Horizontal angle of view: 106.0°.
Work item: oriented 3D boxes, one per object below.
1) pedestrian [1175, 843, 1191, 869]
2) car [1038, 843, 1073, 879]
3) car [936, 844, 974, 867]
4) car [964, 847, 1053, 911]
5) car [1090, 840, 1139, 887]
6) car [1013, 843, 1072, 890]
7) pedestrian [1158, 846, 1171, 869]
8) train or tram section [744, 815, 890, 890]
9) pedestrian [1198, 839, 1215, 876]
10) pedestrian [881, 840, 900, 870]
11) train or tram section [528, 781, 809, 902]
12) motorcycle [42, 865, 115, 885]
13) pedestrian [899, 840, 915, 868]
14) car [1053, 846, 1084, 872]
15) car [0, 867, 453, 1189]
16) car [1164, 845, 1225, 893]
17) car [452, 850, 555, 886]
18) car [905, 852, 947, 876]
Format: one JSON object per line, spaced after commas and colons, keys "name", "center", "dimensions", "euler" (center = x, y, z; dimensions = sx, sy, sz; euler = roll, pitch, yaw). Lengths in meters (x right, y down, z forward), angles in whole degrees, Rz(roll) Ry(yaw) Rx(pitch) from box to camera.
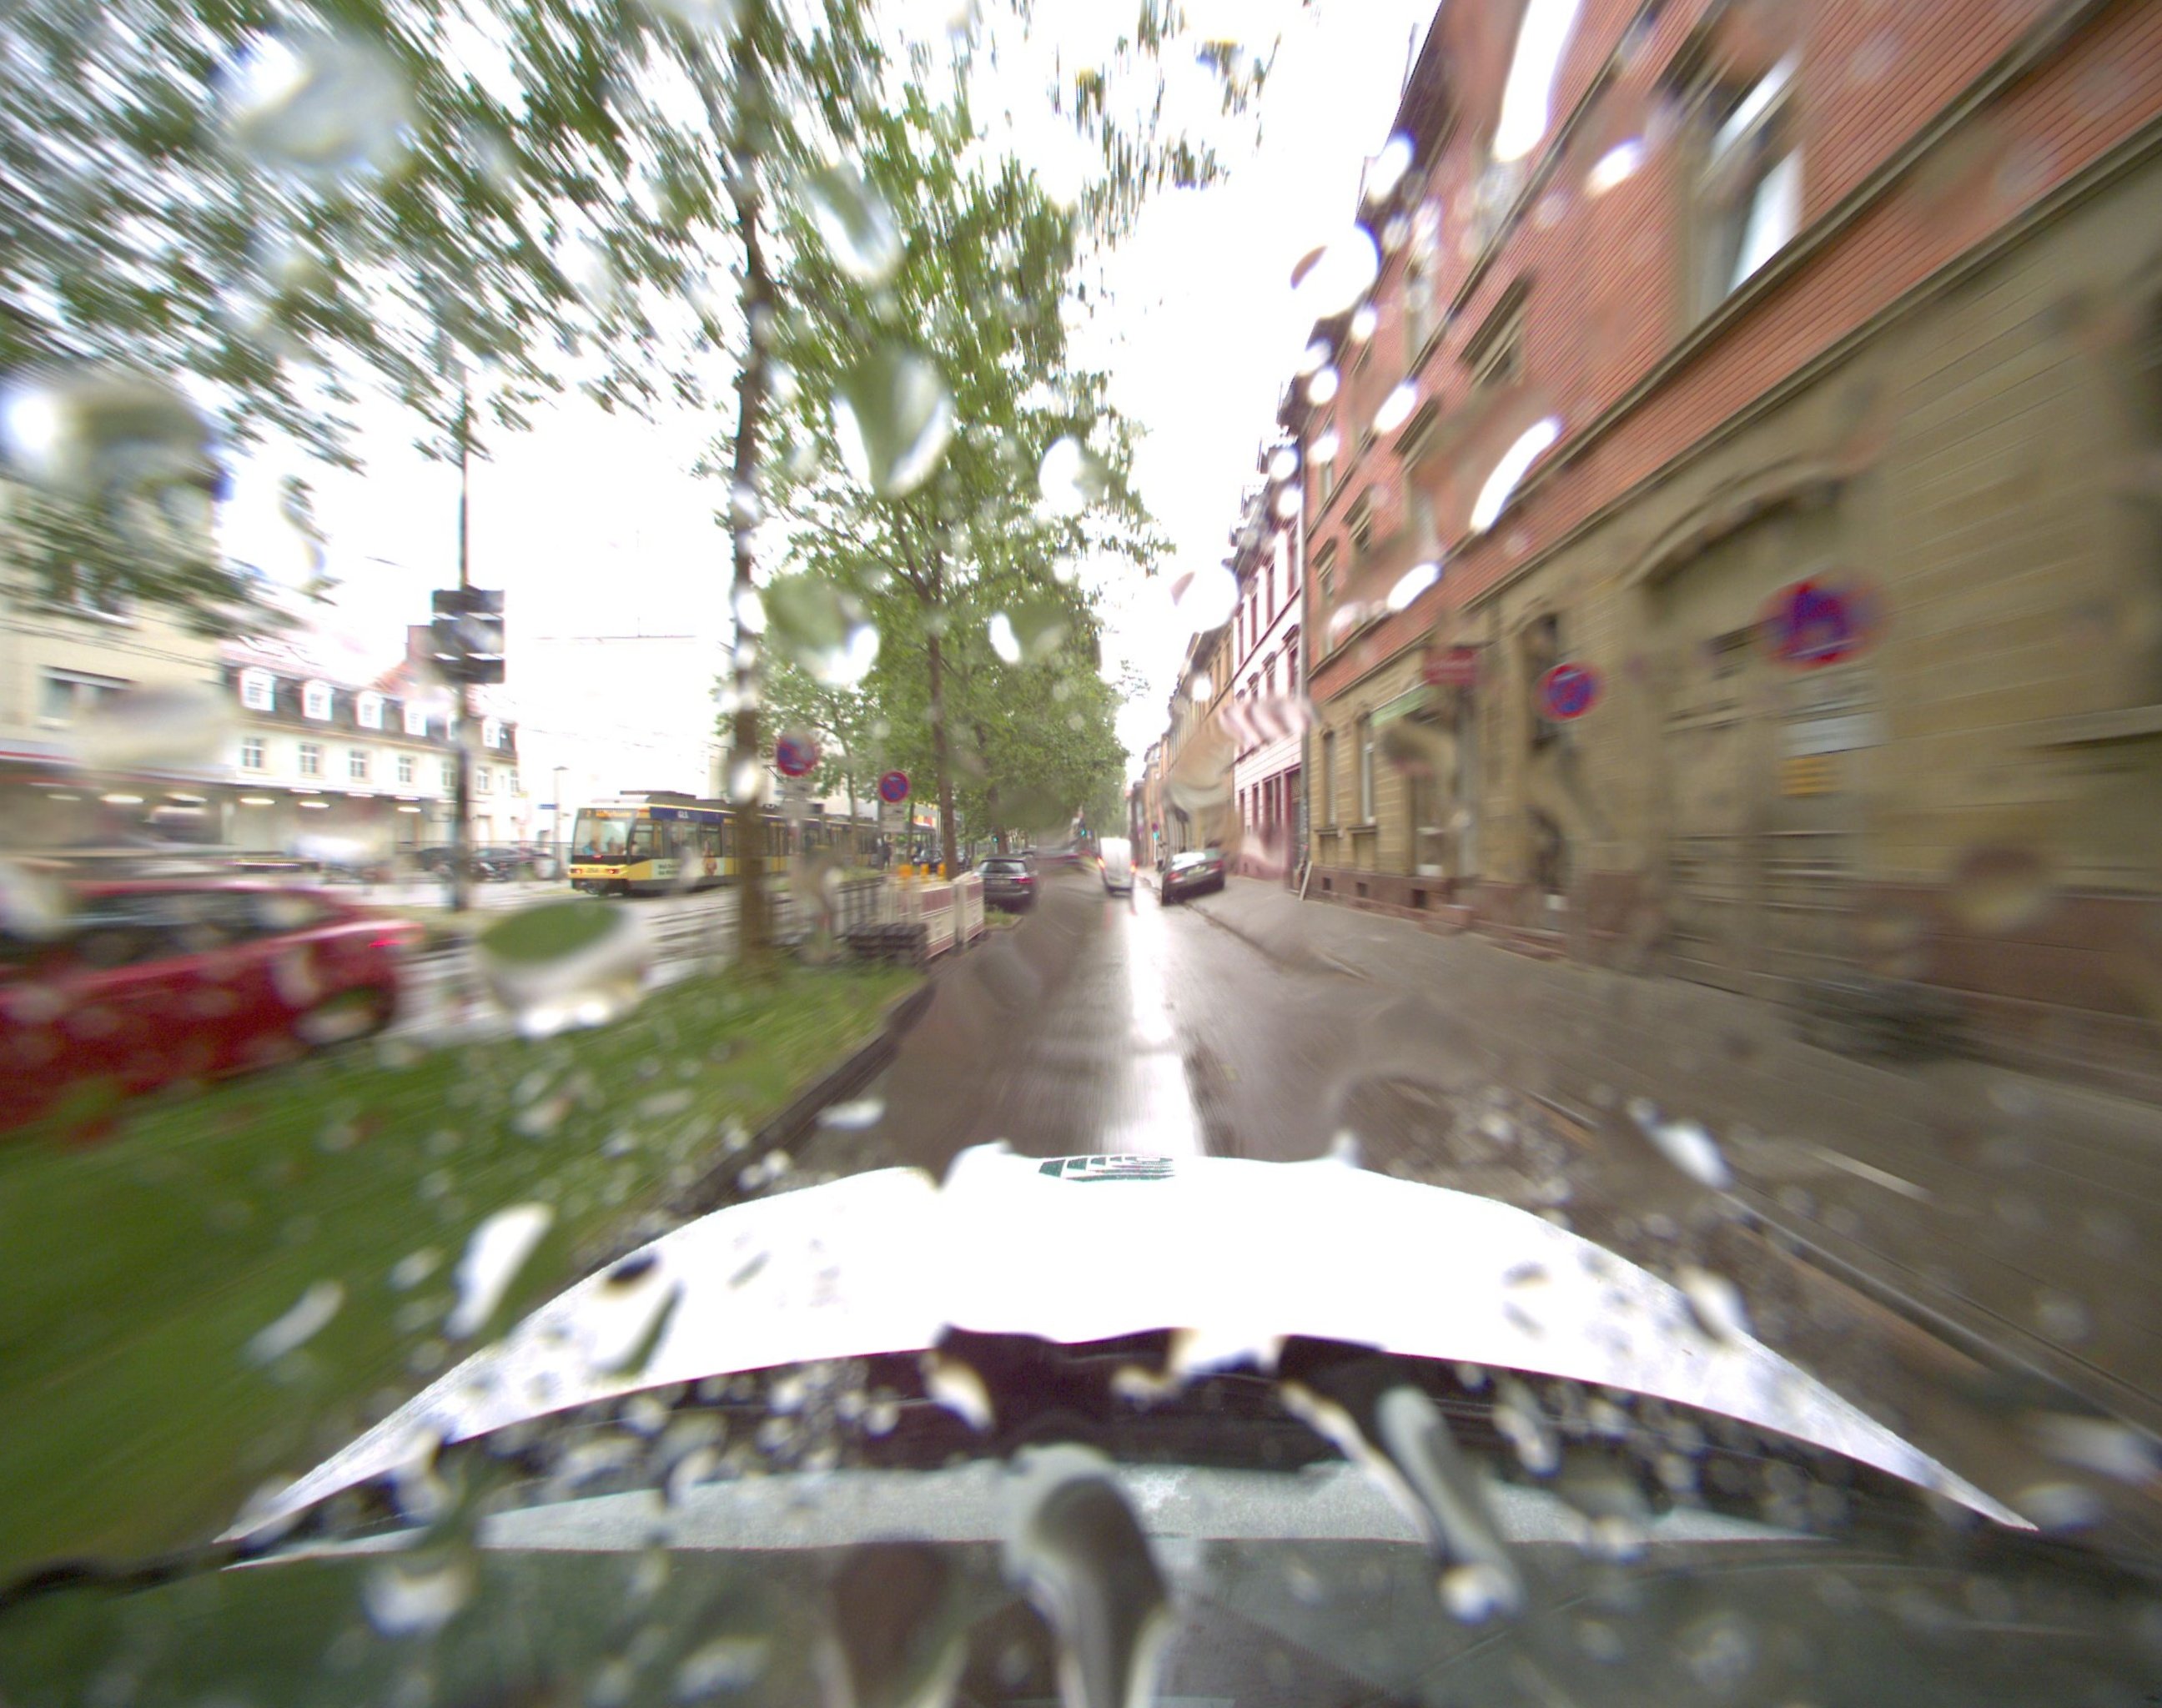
{"name": "pedestrian", "center": [6.217, 0.100, 49.619], "dimensions": [0.837, 1.511, 1.108], "euler": [-3, 0, 2]}
{"name": "car", "center": [-1.243, 0.322, 40.614], "dimensions": [1.619, 1.681, 3.658], "euler": [1, 1, -1]}
{"name": "car", "center": [-9.052, 0.076, 58.698], "dimensions": [1.986, 1.613, 4.001], "euler": [0, 0, 1]}
{"name": "car", "center": [-1.804, 0.591, 21.686], "dimensions": [1.822, 1.503, 4.615], "euler": [1, 0, 1]}
{"name": "car", "center": [1.400, 0.404, 33.694], "dimensions": [1.896, 1.797, 4.116], "euler": [0, -1, 3]}
{"name": "car", "center": [-1.379, 0.426, 30.685], "dimensions": [1.691, 1.635, 4.359], "euler": [-1, 0, 4]}
{"name": "pedestrian", "center": [6.248, 0.257, 60.992], "dimensions": [0.837, 1.716, 1.108], "euler": [-4, 0, 2]}
{"name": "train or tram section", "center": [-14.273, 0.057, 45.991], "dimensions": [3.094, 3.558, 14.678], "euler": [-1, -1, 1]}
{"name": "pedestrian", "center": [5.864, 0.153, 38.110], "dimensions": [0.636, 1.684, 0.603], "euler": [-3, 0, 1]}
{"name": "pedestrian", "center": [-10.709, 0.050, 45.772], "dimensions": [0.815, 1.703, 0.872], "euler": [0, 0, 1]}
{"name": "train or tram section", "center": [-14.679, -0.231, 31.444], "dimensions": [3.094, 3.558, 14.580], "euler": [-1, -1, 1]}
{"name": "motorcycle", "center": [-38.067, 0.780, 30.943], "dimensions": [0.514, 0.710, 1.685], "euler": [-1, -1, 30]}
{"name": "pedestrian", "center": [-10.930, 0.001, 51.271], "dimensions": [0.815, 1.703, 0.872], "euler": [0, 0, 1]}
{"name": "car", "center": [-0.740, 0.274, 49.897], "dimensions": [1.642, 1.500, 4.121], "euler": [1, 0, 2]}
{"name": "car", "center": [-5.722, 0.809, 4.090], "dimensions": [1.734, 1.397, 4.235], "euler": [0, 0, 2]}
{"name": "car", "center": [3.886, 0.474, 28.581], "dimensions": [1.805, 1.420, 4.703], "euler": [-4, 0, 5]}
{"name": "car", "center": [-26.306, 0.612, 37.138], "dimensions": [3.657, 1.541, 1.613], "euler": [0, 0, 6]}
{"name": "car", "center": [-9.599, 0.596, 50.589], "dimensions": [1.732, 1.343, 3.757], "euler": [2, 1, 1]}
